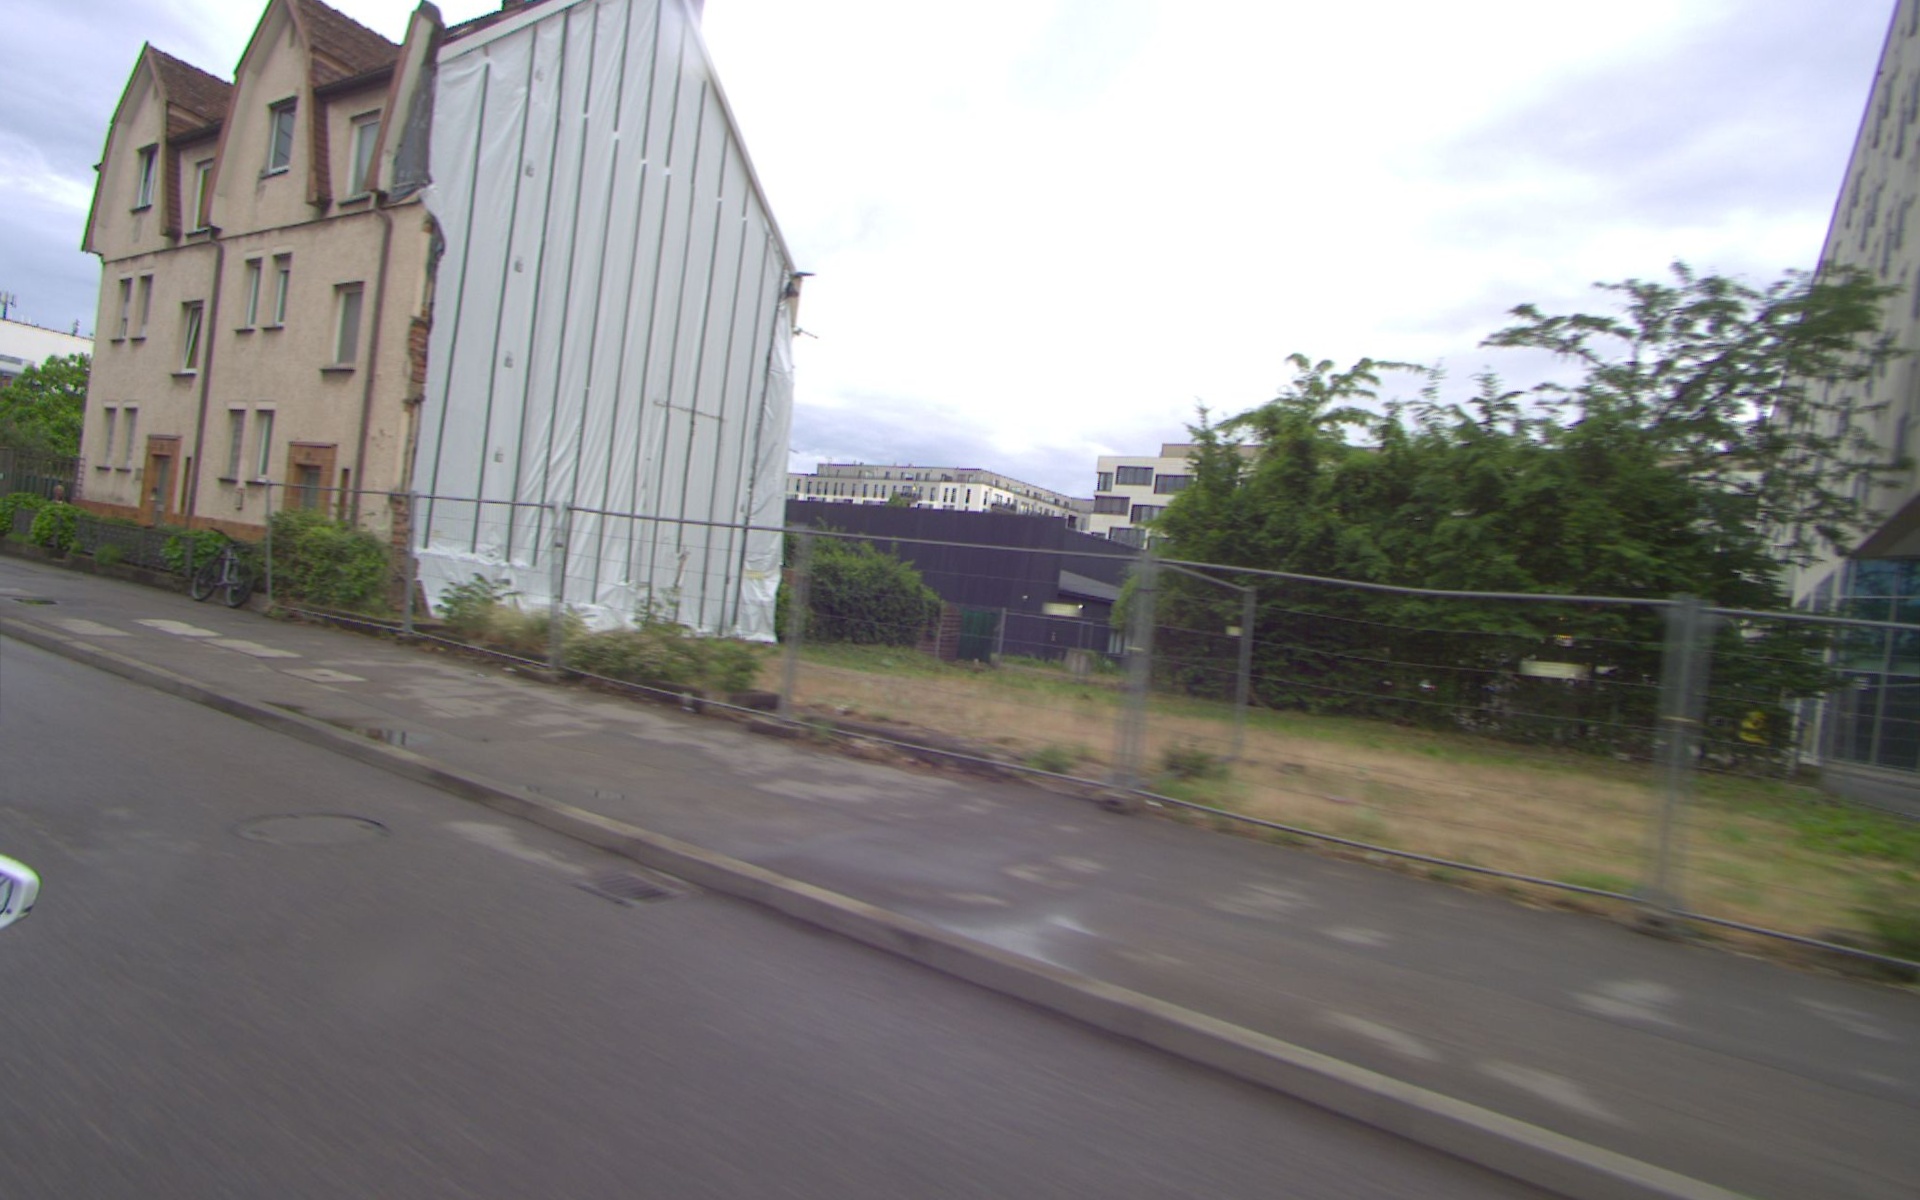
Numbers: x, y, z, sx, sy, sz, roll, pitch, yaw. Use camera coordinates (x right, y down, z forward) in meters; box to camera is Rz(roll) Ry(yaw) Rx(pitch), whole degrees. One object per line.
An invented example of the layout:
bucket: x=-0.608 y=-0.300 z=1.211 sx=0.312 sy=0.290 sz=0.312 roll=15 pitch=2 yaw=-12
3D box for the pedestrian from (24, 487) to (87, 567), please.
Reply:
pedestrian: x=-21.998 y=-1.775 z=24.458 sx=0.757 sy=1.784 sz=0.910 roll=7 pitch=-1 yaw=44
